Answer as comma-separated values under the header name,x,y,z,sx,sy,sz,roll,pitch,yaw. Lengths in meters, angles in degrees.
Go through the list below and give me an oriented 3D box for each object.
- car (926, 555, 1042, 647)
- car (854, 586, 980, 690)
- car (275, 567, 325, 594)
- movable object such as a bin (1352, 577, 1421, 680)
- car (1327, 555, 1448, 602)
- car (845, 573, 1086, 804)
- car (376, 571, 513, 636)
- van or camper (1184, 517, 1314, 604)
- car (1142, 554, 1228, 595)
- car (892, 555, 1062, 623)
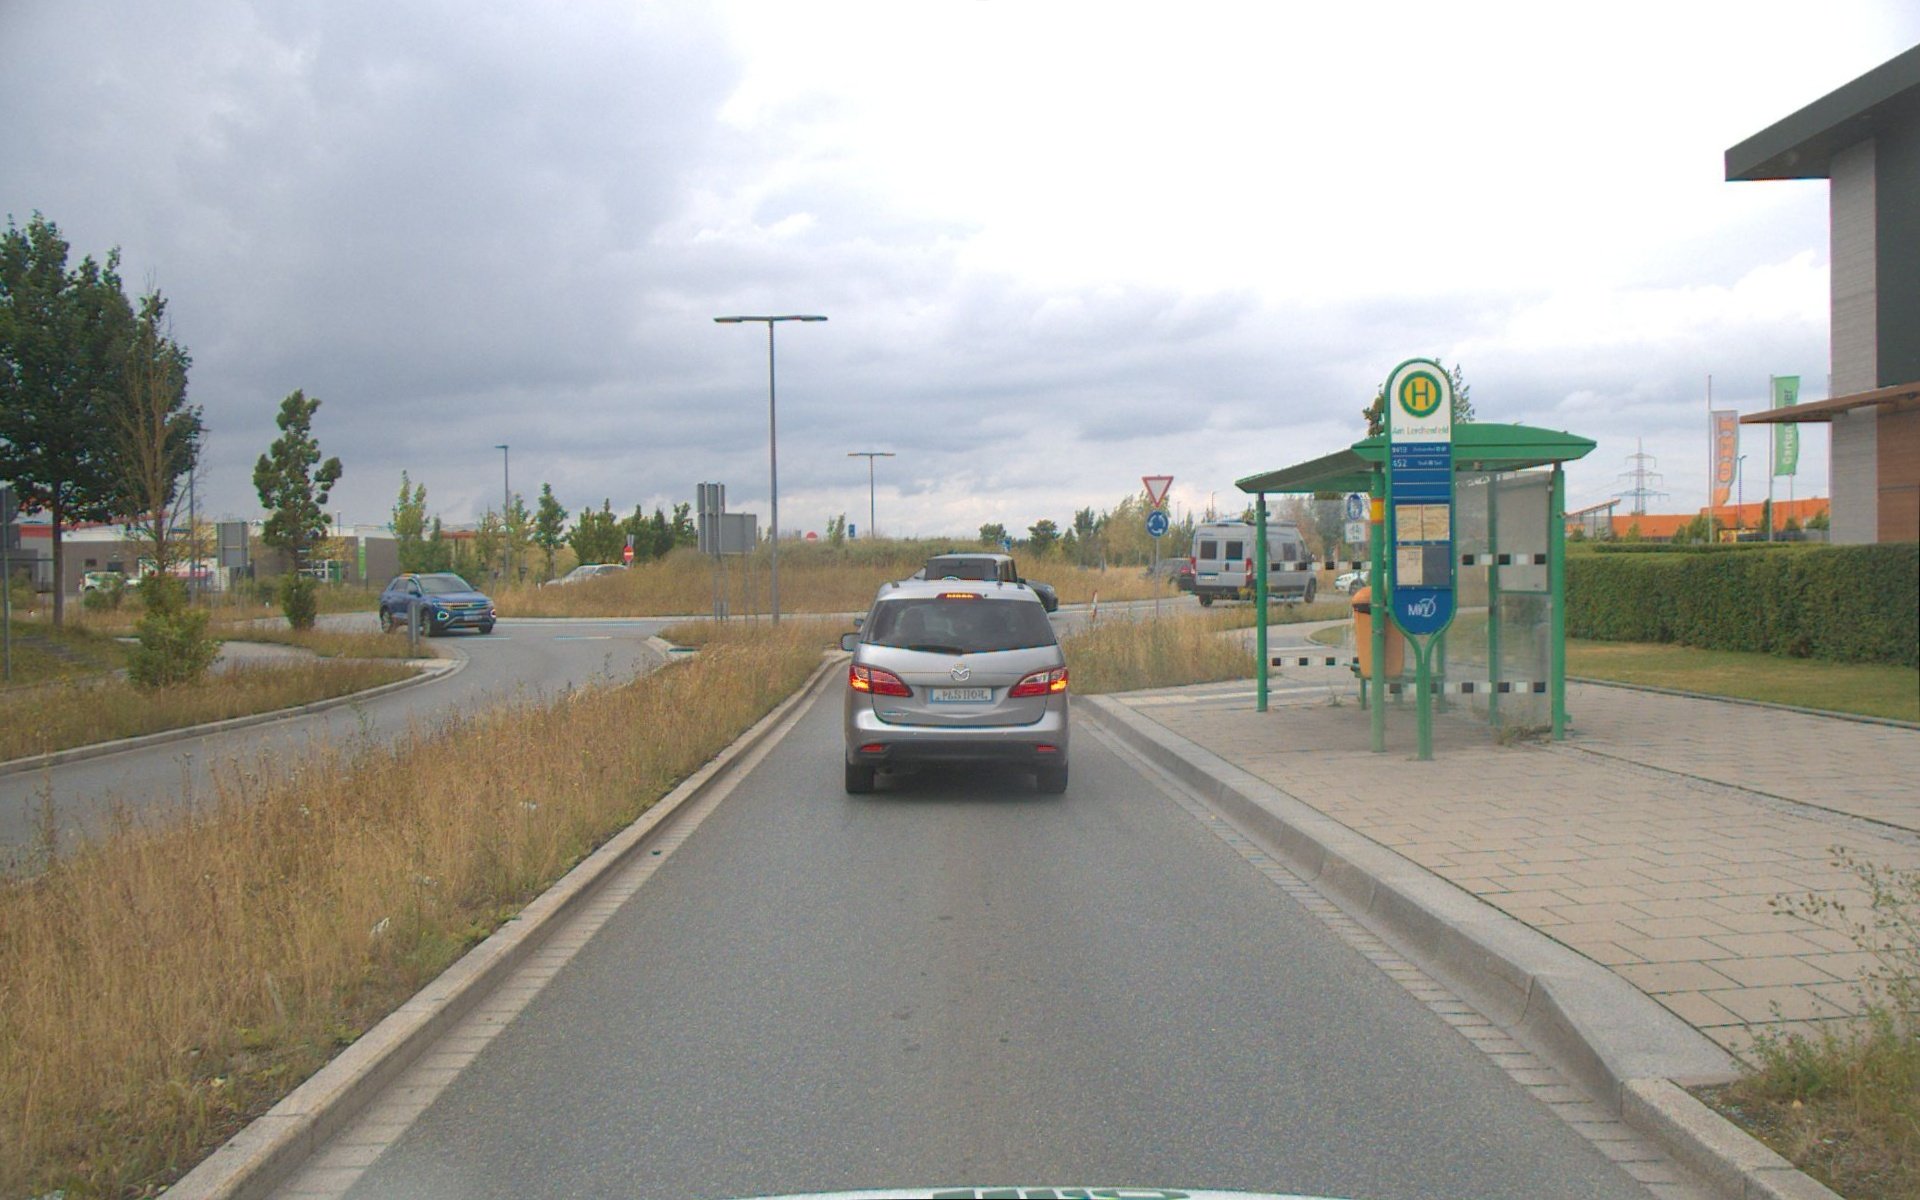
name,x,y,z,sx,sy,sz,roll,pitch,yaw
car,0.600,0.003,36.194,2.014,1.857,4.790,0,0,7
car,-0.607,0.533,26.167,1.807,1.443,4.225,-1,1,0
car,-46.219,-1.383,115.889,1.953,1.892,4.000,0,1,0
movable object such as a bin,3.430,0.222,13.320,0.447,0.812,0.380,-1,0,-2
car,16.991,-0.850,65.918,4.503,1.788,2.002,0,0,9
car,-0.032,0.599,13.617,1.695,1.628,3.805,0,1,-2
car,-13.756,0.120,44.007,1.832,1.555,4.161,-3,0,-43
van or camper,9.017,-1.200,51.283,2.260,2.549,5.194,0,1,31
car,8.919,-1.006,65.887,1.962,1.542,3.982,-1,0,-17
car,0.430,-0.319,44.388,4.125,1.620,2.055,-2,1,-18
